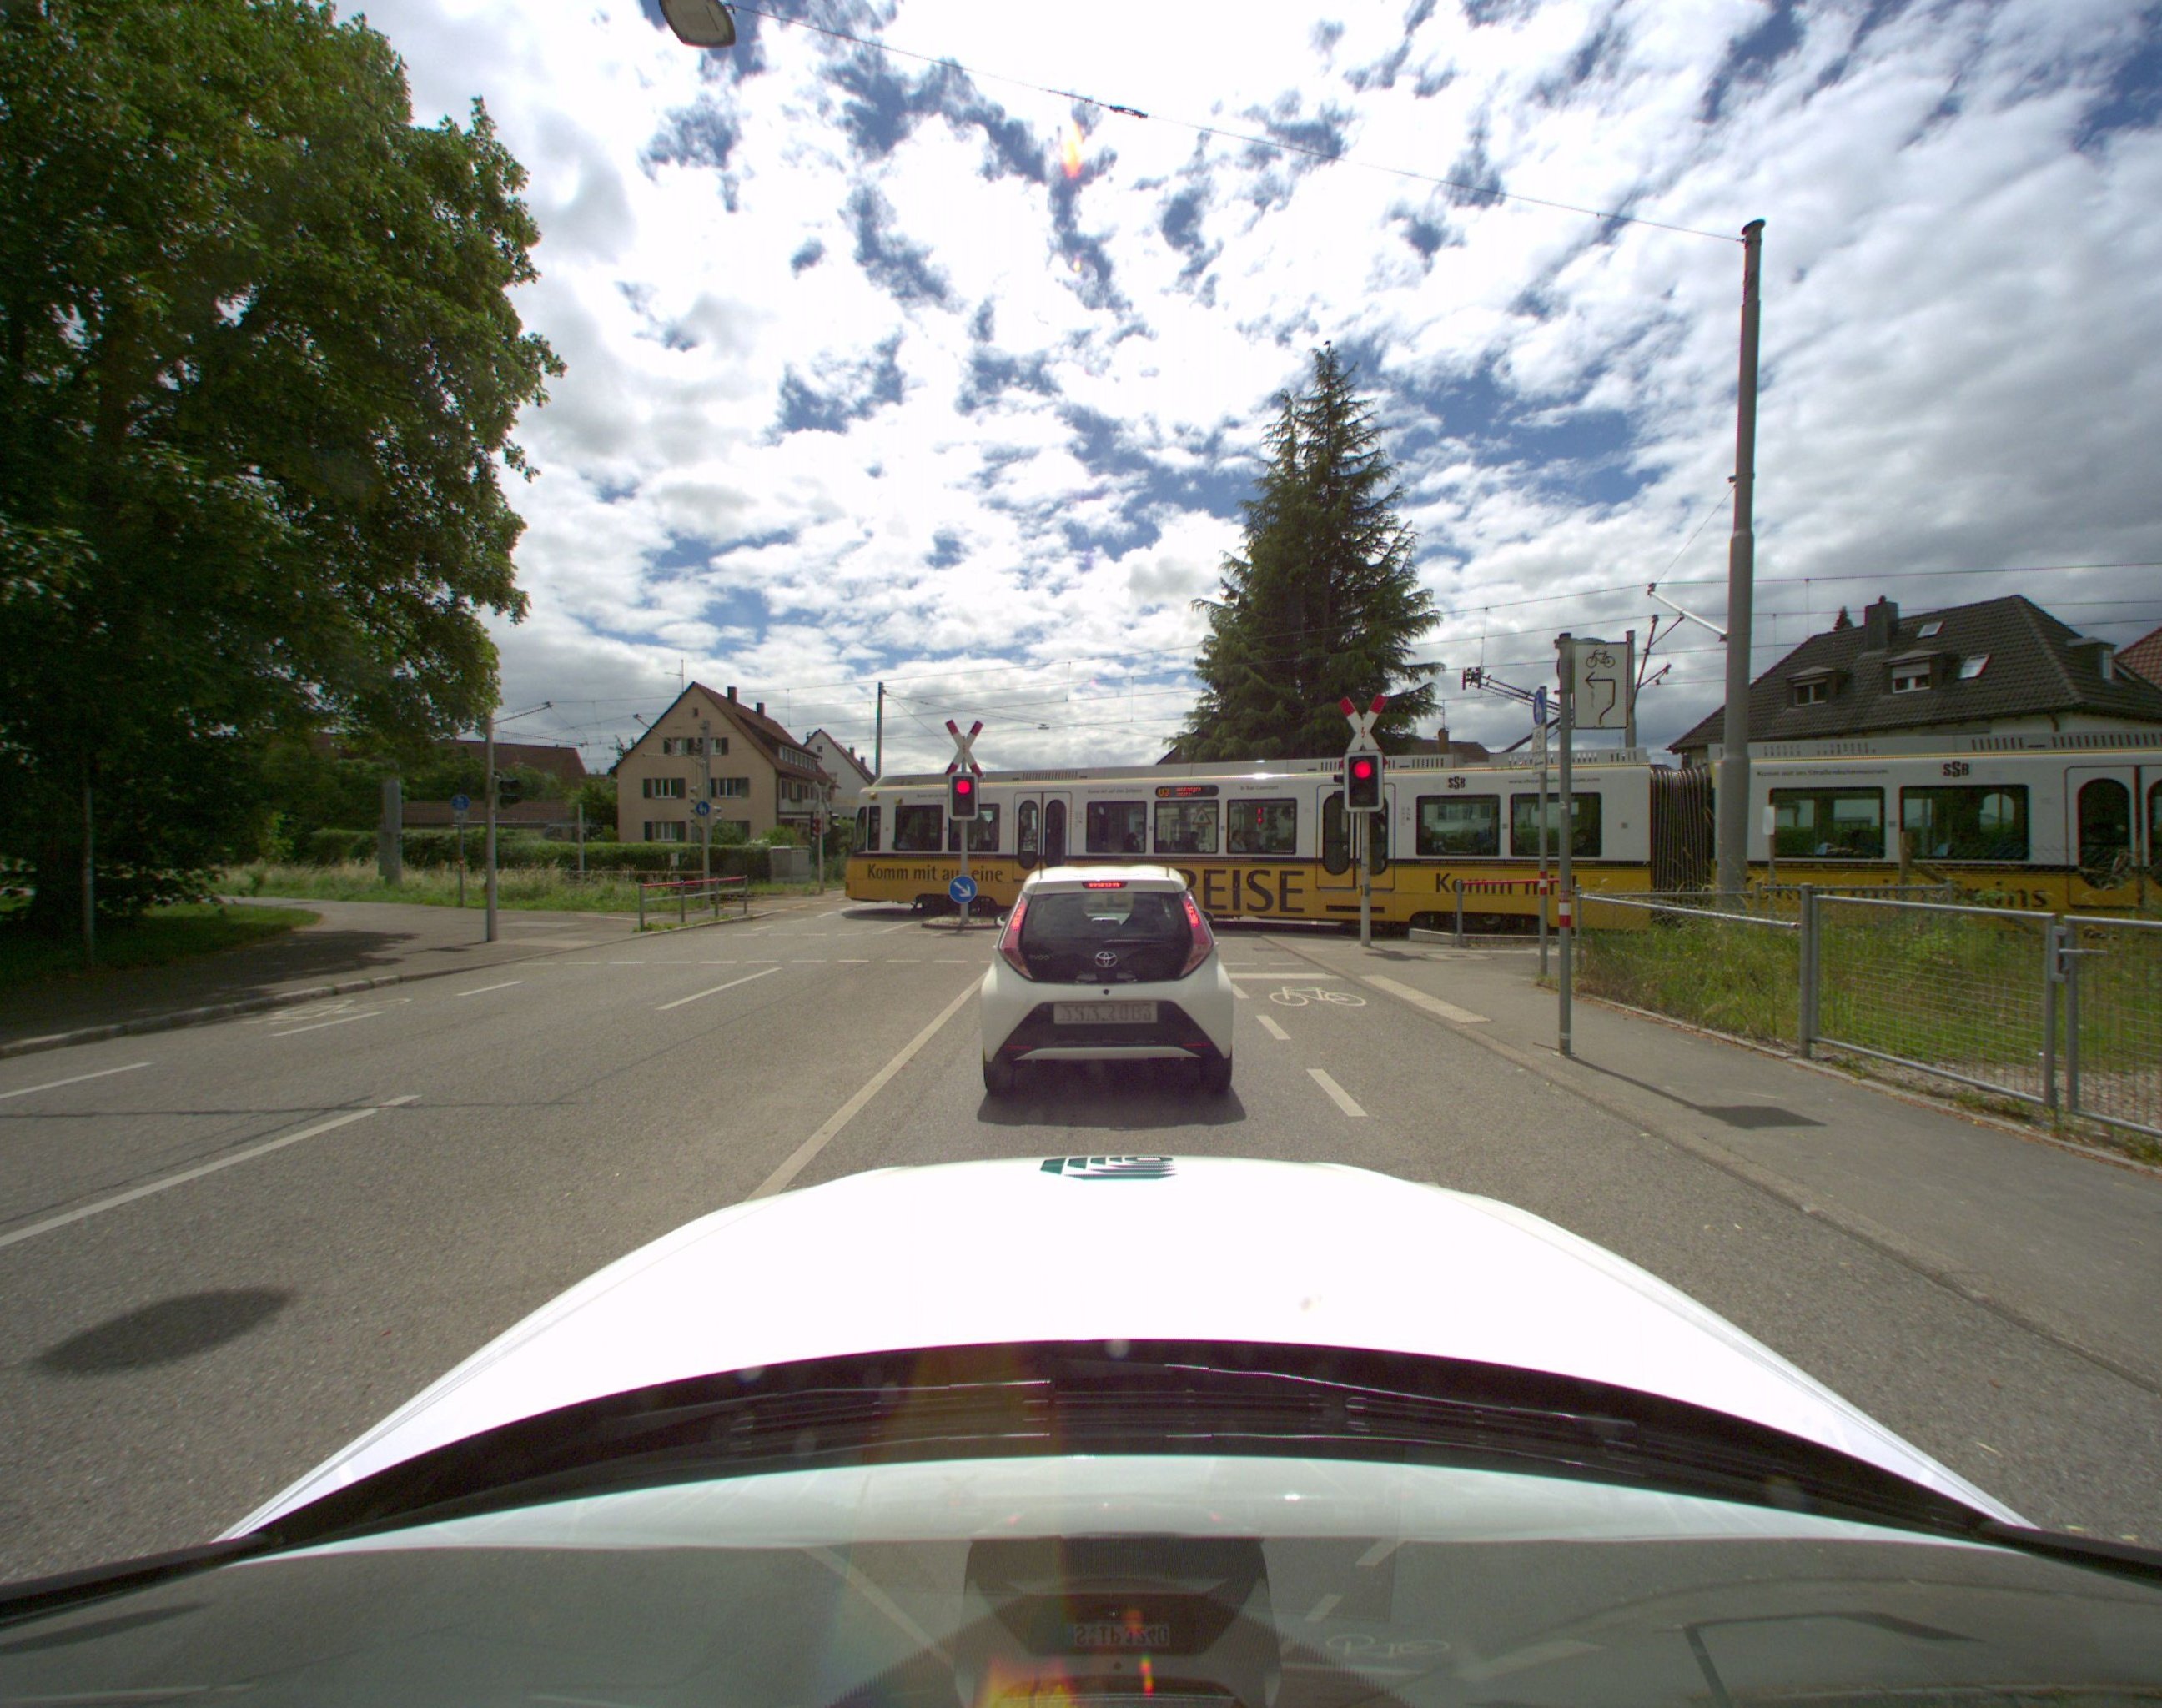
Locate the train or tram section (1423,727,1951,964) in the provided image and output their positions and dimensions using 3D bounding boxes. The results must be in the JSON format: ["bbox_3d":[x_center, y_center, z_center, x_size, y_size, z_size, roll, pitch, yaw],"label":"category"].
[{"bbox_3d":[10.787,-0.170,15.671,7.622,3.721,2.886,1,0,24],"label":"train or tram section"}]

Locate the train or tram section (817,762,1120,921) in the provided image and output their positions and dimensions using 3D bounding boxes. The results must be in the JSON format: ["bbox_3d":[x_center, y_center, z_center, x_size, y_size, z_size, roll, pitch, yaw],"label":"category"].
[{"bbox_3d":[-3.072,-0.331,21.892,7.622,3.721,2.886,1,0,24],"label":"train or tram section"}]

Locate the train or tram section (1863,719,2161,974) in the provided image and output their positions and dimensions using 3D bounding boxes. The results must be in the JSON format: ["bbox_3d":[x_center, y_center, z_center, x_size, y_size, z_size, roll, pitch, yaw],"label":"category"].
[{"bbox_3d":[17.714,-0.093,12.575,7.622,3.721,2.886,1,0,24],"label":"train or tram section"}]

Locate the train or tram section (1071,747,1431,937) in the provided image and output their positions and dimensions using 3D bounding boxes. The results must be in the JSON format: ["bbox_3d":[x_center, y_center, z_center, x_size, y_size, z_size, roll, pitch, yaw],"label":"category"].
[{"bbox_3d":[3.867,-0.276,18.780,7.622,3.721,2.886,1,0,24],"label":"train or tram section"}]

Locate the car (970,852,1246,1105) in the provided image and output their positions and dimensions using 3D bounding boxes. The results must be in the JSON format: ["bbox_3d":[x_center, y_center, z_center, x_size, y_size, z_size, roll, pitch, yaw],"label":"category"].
[{"bbox_3d":[0.222,0.757,6.841,1.615,1.486,4.001,-1,-1,2],"label":"car"}]
